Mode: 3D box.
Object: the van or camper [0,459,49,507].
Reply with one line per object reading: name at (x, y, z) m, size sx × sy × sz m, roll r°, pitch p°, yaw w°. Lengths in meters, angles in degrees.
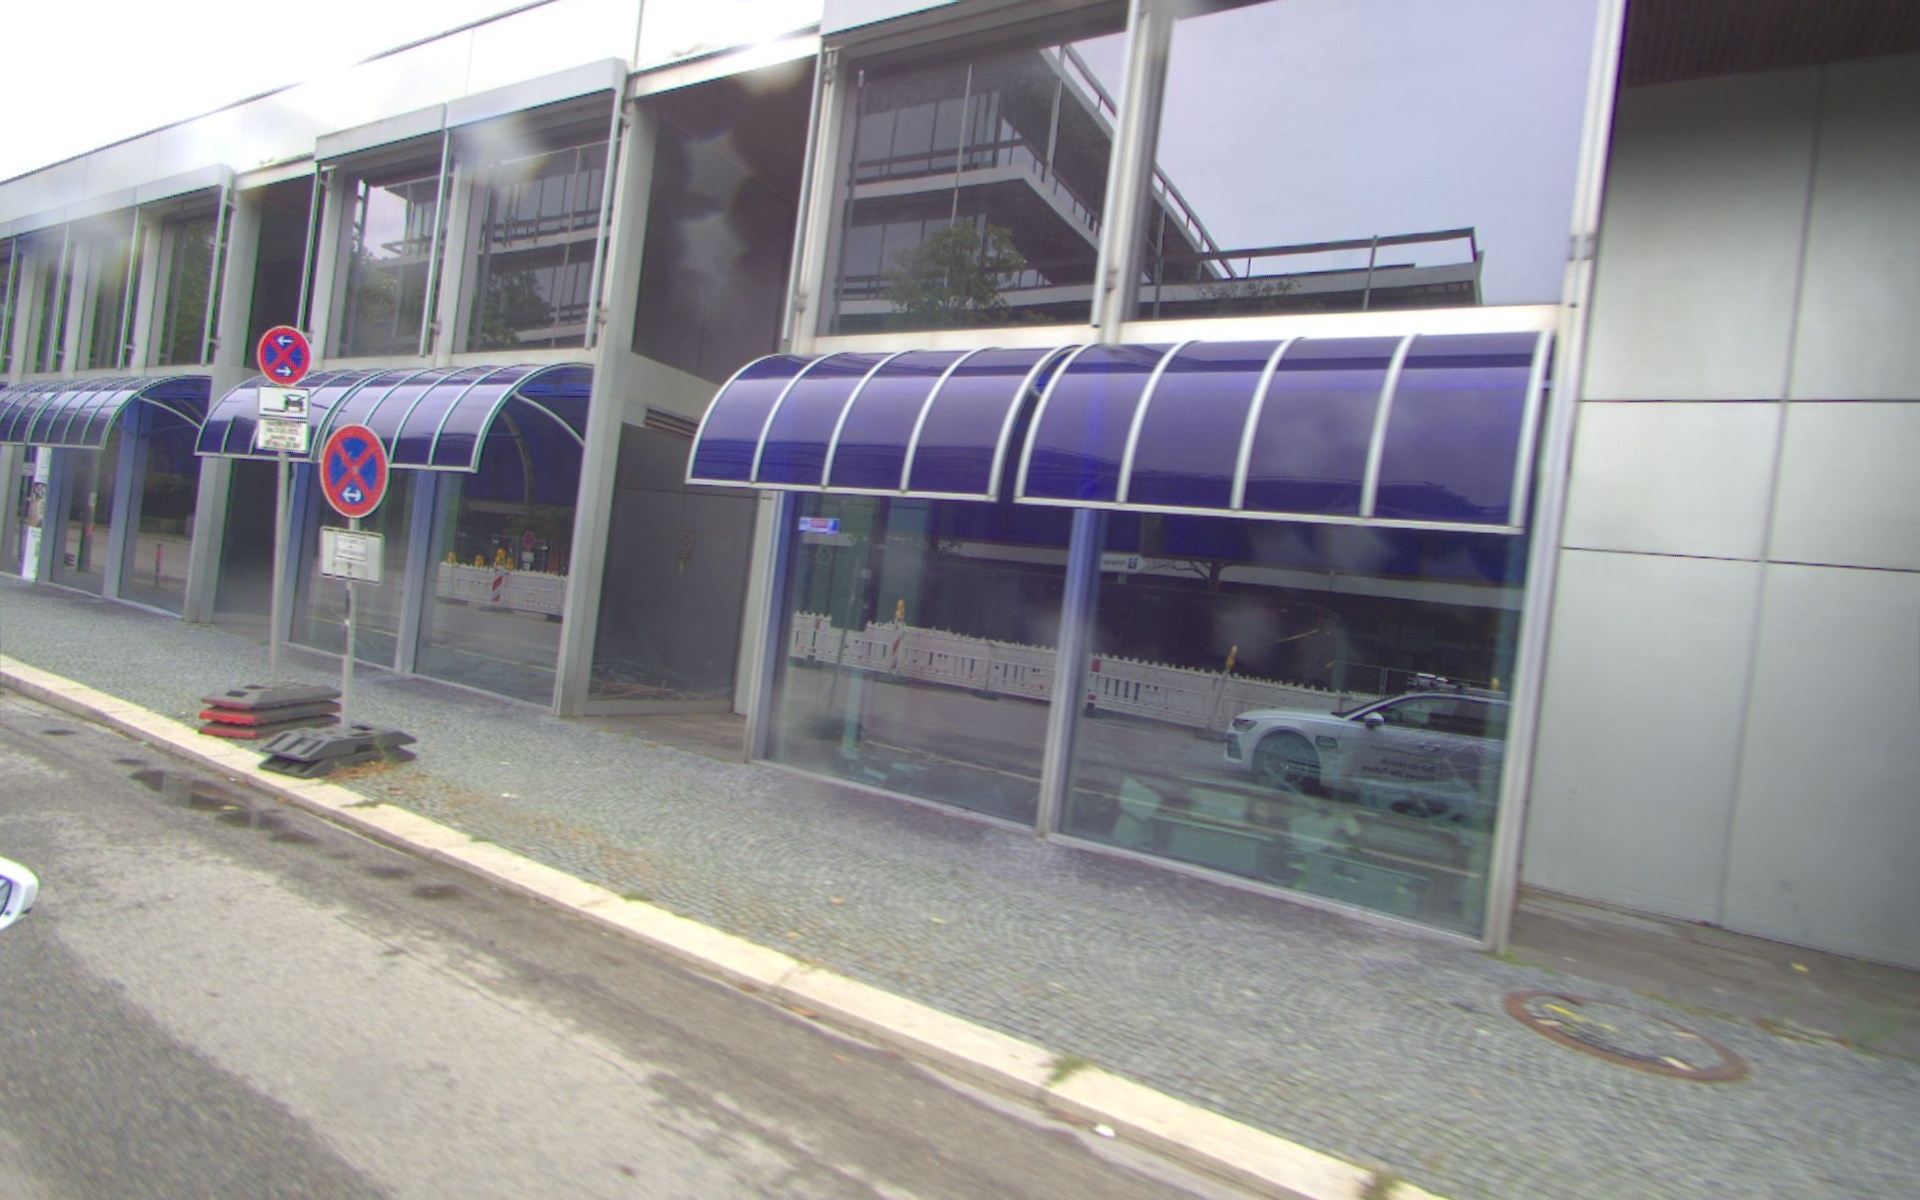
van or camper at (-53.796, -6.729, 54.328) m, size 2.212 × 2.309 × 6.421 m, roll 8°, pitch -1°, yaw 18°
